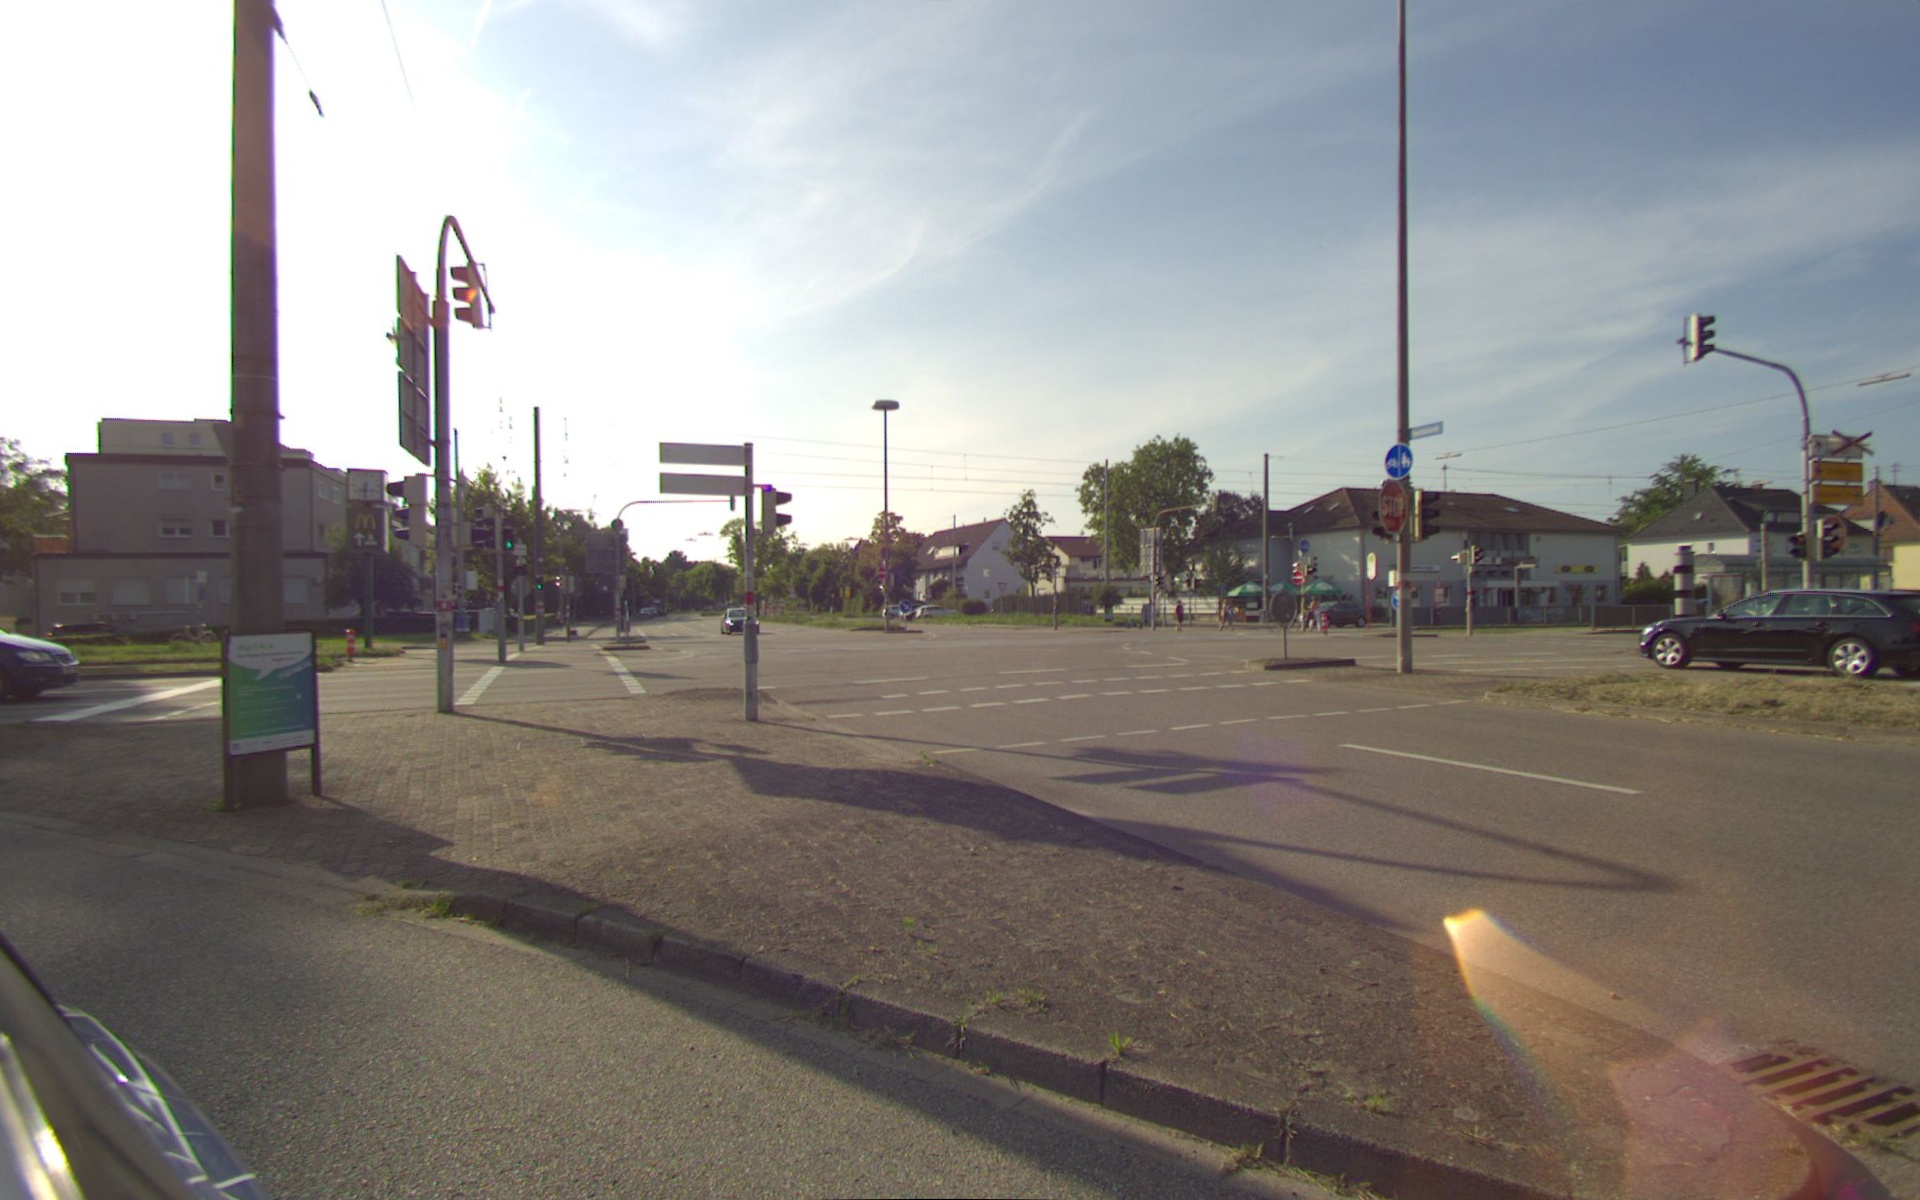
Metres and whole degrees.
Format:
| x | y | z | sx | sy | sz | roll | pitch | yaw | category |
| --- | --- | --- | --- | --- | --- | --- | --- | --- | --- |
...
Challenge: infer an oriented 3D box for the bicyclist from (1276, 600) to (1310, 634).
| x | y | z | sx | sy | sz | roll | pitch | yaw | category |
| --- | --- | --- | --- | --- | --- | --- | --- | --- | --- |
| 14.330 | 0.741 | 43.612 | 1.118 | 1.442 | 0.889 | 0 | 0 | -34 | bicyclist |

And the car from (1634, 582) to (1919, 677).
| x | y | z | sx | sy | sz | roll | pitch | yaw | category |
| --- | --- | --- | --- | --- | --- | --- | --- | --- | --- |
| 14.402 | 0.468 | 17.072 | 1.686 | 1.422 | 4.855 | 0 | -1 | -24 | car |

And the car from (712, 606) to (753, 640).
| x | y | z | sx | sy | sz | roll | pitch | yaw | category |
| --- | --- | --- | --- | --- | --- | --- | --- | --- | --- |
| -12.585 | 1.263 | 55.800 | 1.493 | 1.806 | 4.013 | 0 | -1 | -23 | car |

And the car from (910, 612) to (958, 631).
| x | y | z | sx | sy | sz | roll | pitch | yaw | category |
| --- | --- | --- | --- | --- | --- | --- | --- | --- | --- |
| -2.511 | 2.020 | 96.205 | 4.147 | 1.696 | 2.006 | 0 | 0 | -18 | car |

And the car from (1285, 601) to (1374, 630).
| x | y | z | sx | sy | sz | roll | pitch | yaw | category |
| --- | --- | --- | --- | --- | --- | --- | --- | --- | --- |
| 20.486 | 0.836 | 56.073 | 4.528 | 1.519 | 2.006 | -1 | -1 | -25 | car |

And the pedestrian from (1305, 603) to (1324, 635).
| x | y | z | sx | sy | sz | roll | pitch | yaw | category |
| --- | --- | --- | --- | --- | --- | --- | --- | --- | --- |
| 16.324 | 0.875 | 46.582 | 0.538 | 1.442 | 0.582 | 0 | 0 | -27 | pedestrian |

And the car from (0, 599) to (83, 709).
| x | y | z | sx | sy | sz | roll | pitch | yaw | category |
| --- | --- | --- | --- | --- | --- | --- | --- | --- | --- |
| -16.621 | 0.862 | 15.434 | 4.662 | 1.664 | 1.516 | -1 | -1 | -21 | car |

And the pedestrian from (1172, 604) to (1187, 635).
| x | y | z | sx | sy | sz | roll | pitch | yaw | category |
| --- | --- | --- | --- | --- | --- | --- | --- | --- | --- |
| 11.356 | 1.012 | 52.451 | 0.530 | 1.611 | 0.515 | 0 | -1 | -28 | pedestrian |

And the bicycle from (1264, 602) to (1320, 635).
| x | y | z | sx | sy | sz | roll | pitch | yaw | category |
| --- | --- | --- | --- | --- | --- | --- | --- | --- | --- |
| 14.312 | 0.788 | 43.655 | 1.090 | 1.358 | 2.086 | 0 | 0 | -34 | bicycle |

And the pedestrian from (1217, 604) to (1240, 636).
| x | y | z | sx | sy | sz | roll | pitch | yaw | category |
| --- | --- | --- | --- | --- | --- | --- | --- | --- | --- |
| 13.566 | 1.014 | 51.230 | 0.798 | 1.611 | 0.752 | 0 | -1 | -29 | pedestrian |

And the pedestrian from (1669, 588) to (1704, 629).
| x | y | z | sx | sy | sz | roll | pitch | yaw | category |
| --- | --- | --- | --- | --- | --- | --- | --- | --- | --- |
| 27.296 | 0.302 | 38.032 | 0.813 | 1.510 | 0.758 | 0 | 0 | -22 | pedestrian |
